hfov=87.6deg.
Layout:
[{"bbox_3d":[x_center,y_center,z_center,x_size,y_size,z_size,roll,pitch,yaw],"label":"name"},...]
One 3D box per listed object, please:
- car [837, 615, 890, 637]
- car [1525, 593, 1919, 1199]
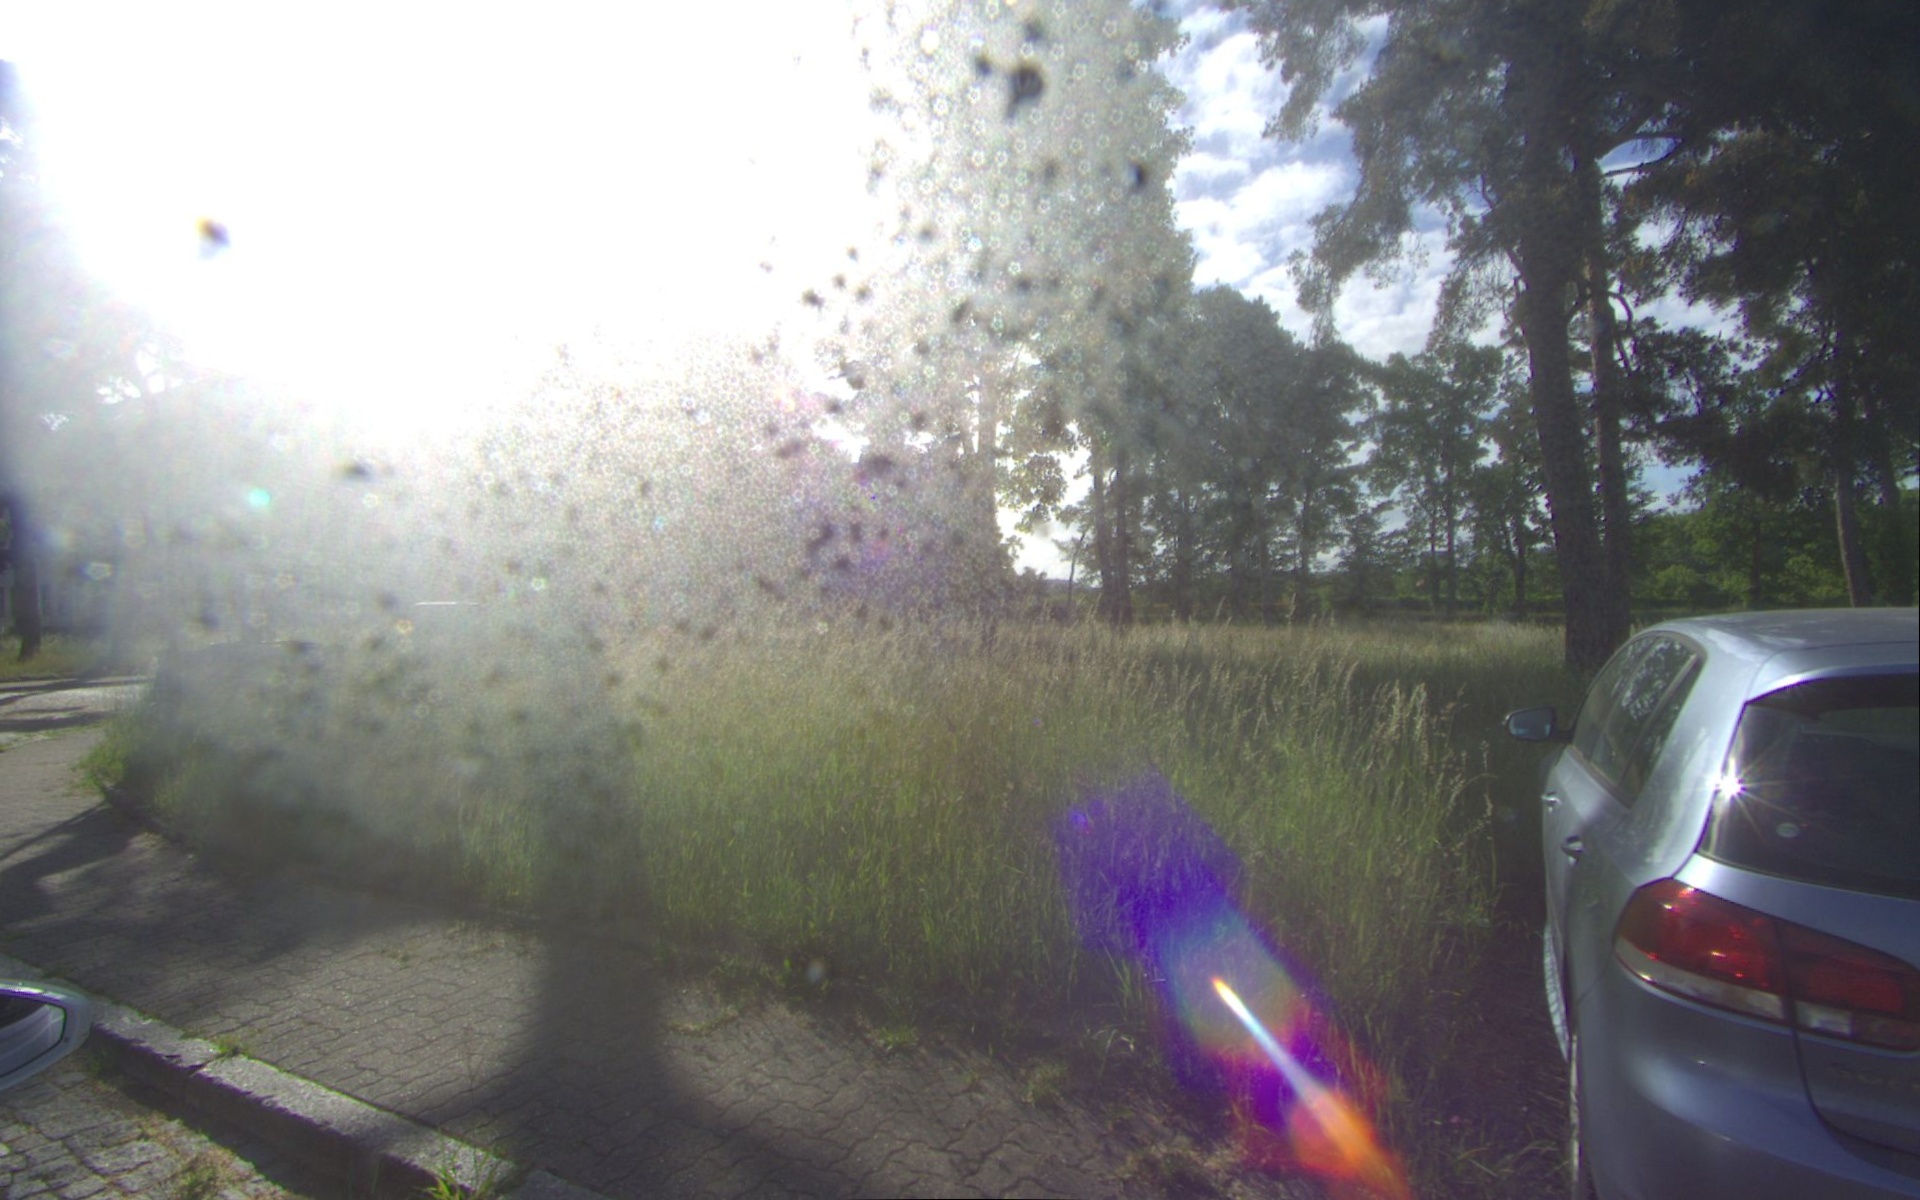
[{"bbox_3d":[-6.725,1.793,69.897,1.818,1.483,3.985,-1,-1,27],"label":"car"},{"bbox_3d":[2.797,0.721,3.041,1.843,1.480,4.009,-1,0,30],"label":"car"}]
